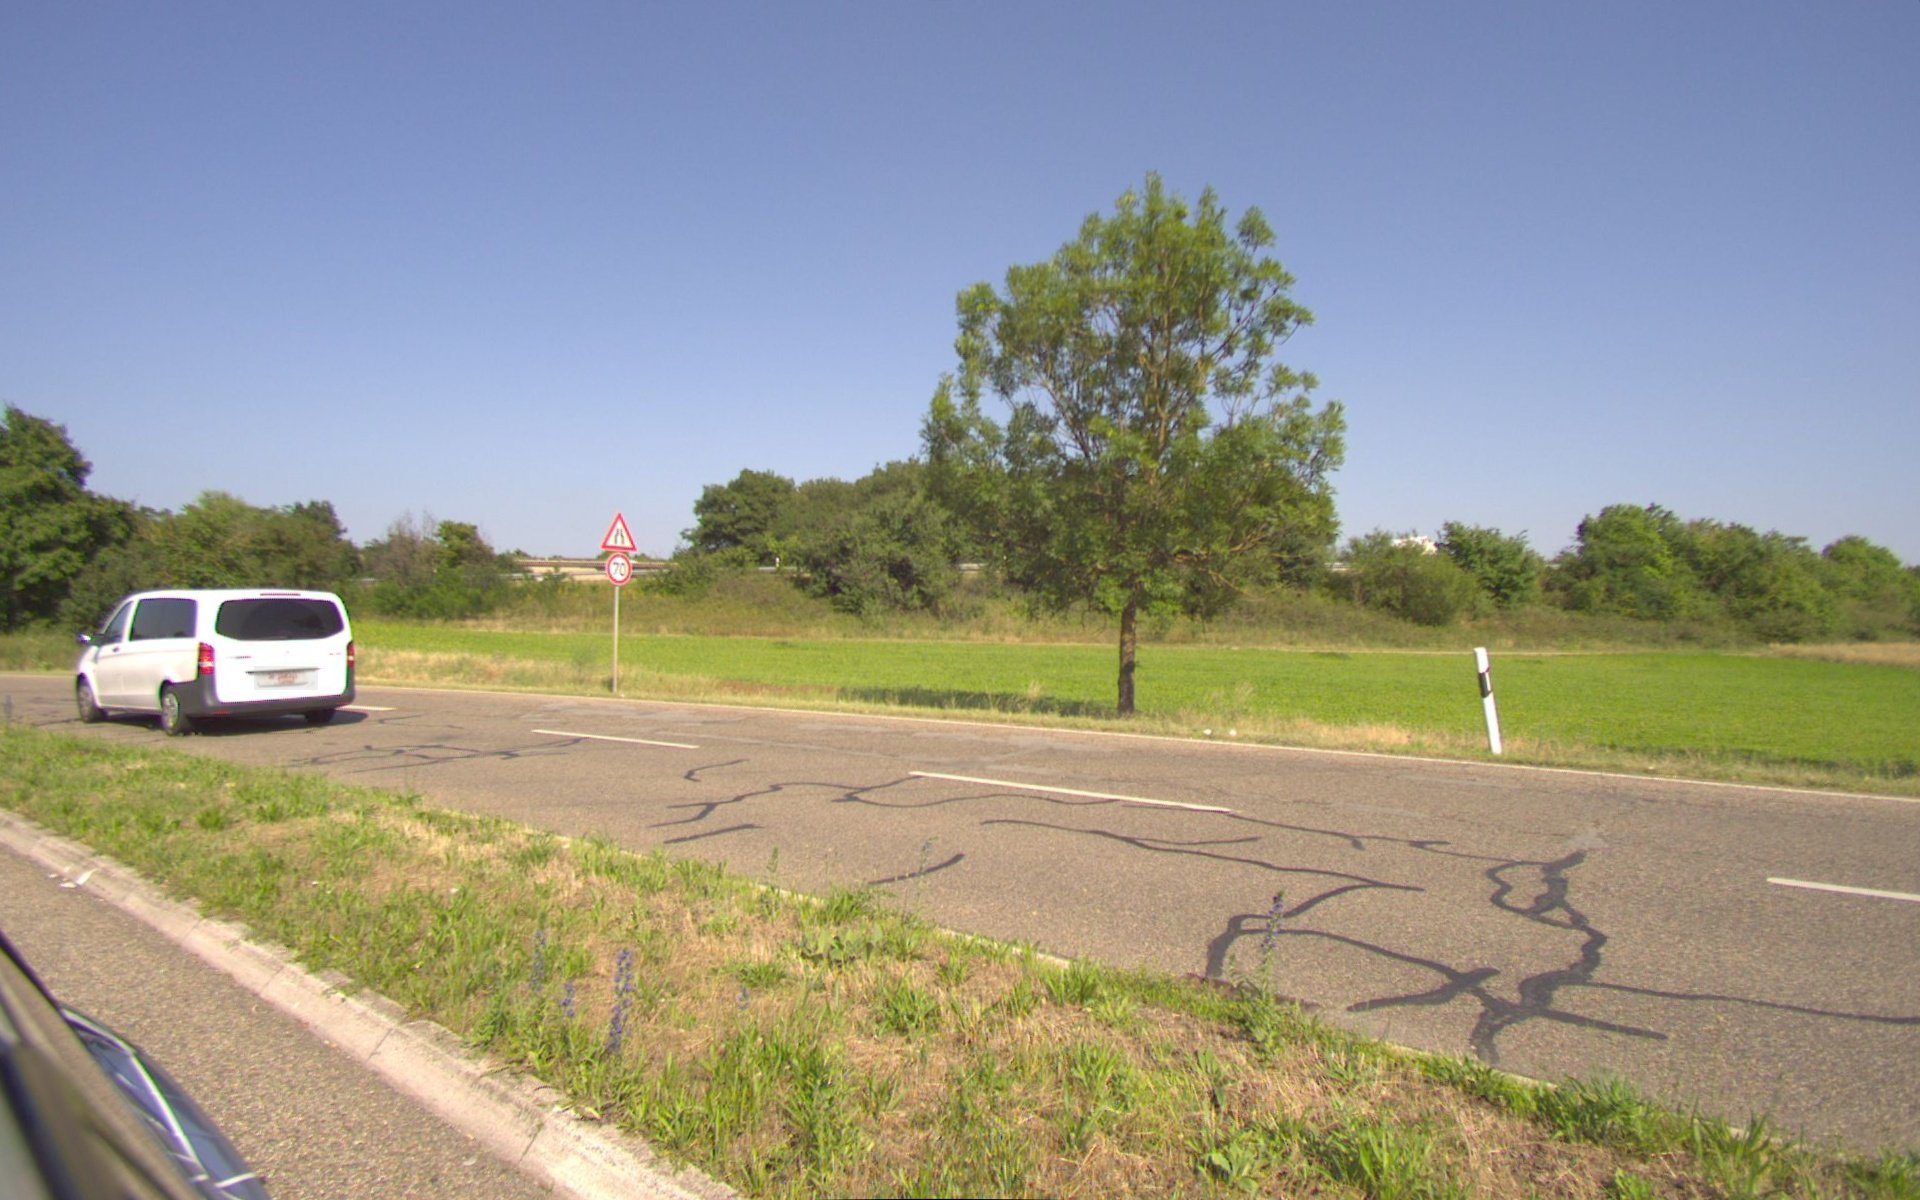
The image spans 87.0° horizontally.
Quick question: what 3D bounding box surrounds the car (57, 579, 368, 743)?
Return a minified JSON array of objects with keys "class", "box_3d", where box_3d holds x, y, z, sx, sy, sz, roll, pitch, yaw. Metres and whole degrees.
[{"class":"car","box_3d":[-10.523,0.768,14.121,4.935,1.932,1.977,-2,-1,34]}]
